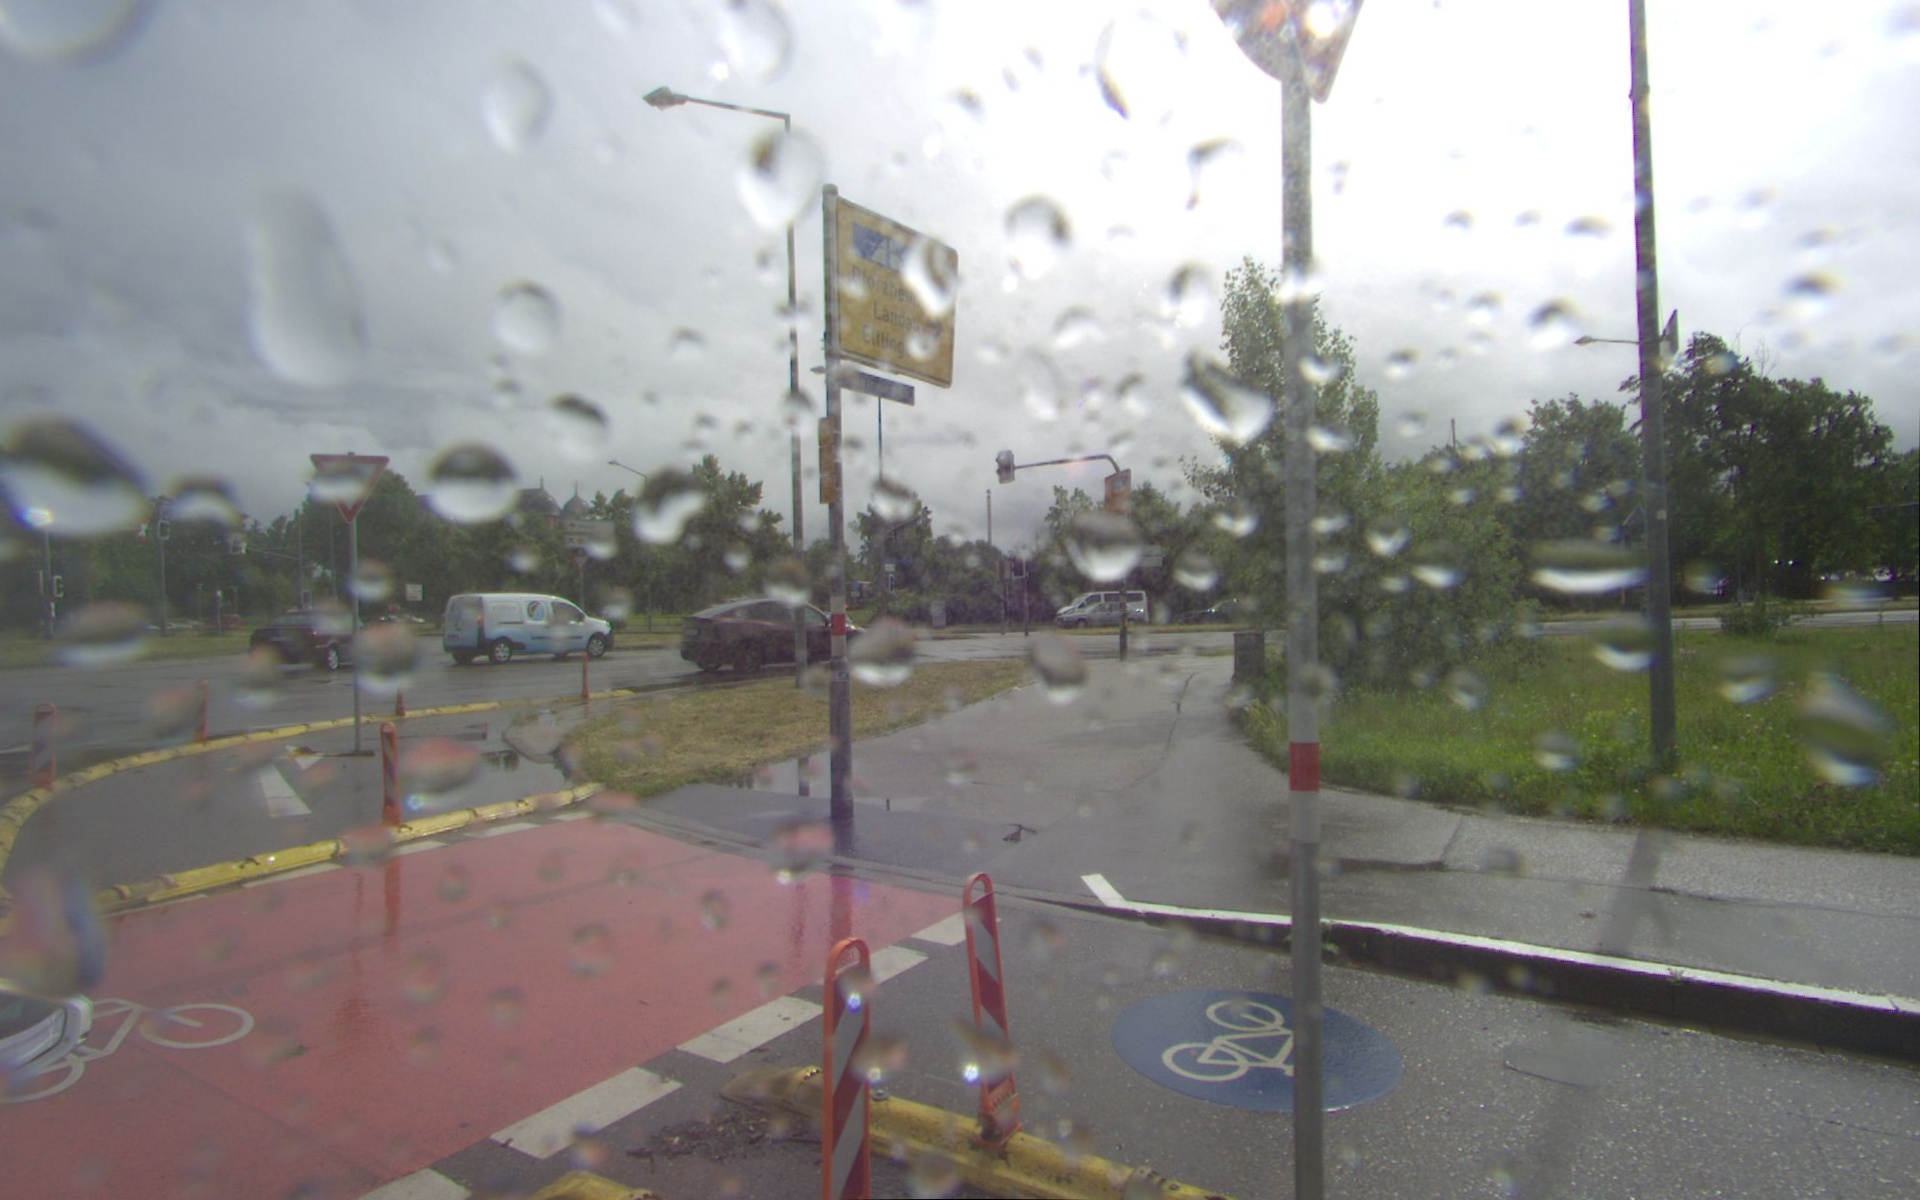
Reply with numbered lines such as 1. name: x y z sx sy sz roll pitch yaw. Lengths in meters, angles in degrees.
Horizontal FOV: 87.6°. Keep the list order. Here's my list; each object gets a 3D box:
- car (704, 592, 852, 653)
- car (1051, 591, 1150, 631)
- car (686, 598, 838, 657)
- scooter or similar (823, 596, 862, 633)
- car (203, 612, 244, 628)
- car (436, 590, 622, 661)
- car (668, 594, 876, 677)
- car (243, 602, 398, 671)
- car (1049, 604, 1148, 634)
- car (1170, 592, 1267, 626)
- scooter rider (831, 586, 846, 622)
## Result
1. car: -5.842 0.662 32.394 4.270 1.781 2.026 -1 1 -38
2. car: 7.379 0.547 52.620 4.714 2.014 2.075 0 1 -16
3. car: -5.696 0.740 29.014 3.952 1.548 1.796 -1 1 -38
4. scooter or similar: -6.725 0.871 57.112 1.220 2.039 3.397 0 -2 -25
5. car: -75.742 2.059 103.001 3.586 1.530 1.646 -1 0 19
6. car: -11.761 0.642 27.653 1.839 1.786 4.530 0 0 30
7. car: -4.278 0.744 23.234 4.454 1.679 1.857 -2 2 -44
8. car: -15.617 0.829 24.709 1.687 1.482 3.996 -1 1 -8
9. car: 6.787 0.929 49.301 4.469 1.399 1.864 0 1 -15
10. car: 13.118 0.425 50.833 4.406 1.556 1.864 -2 1 -15
11. scooter rider: -7.058 0.247 58.044 0.694 2.039 0.768 0 -1 -22
